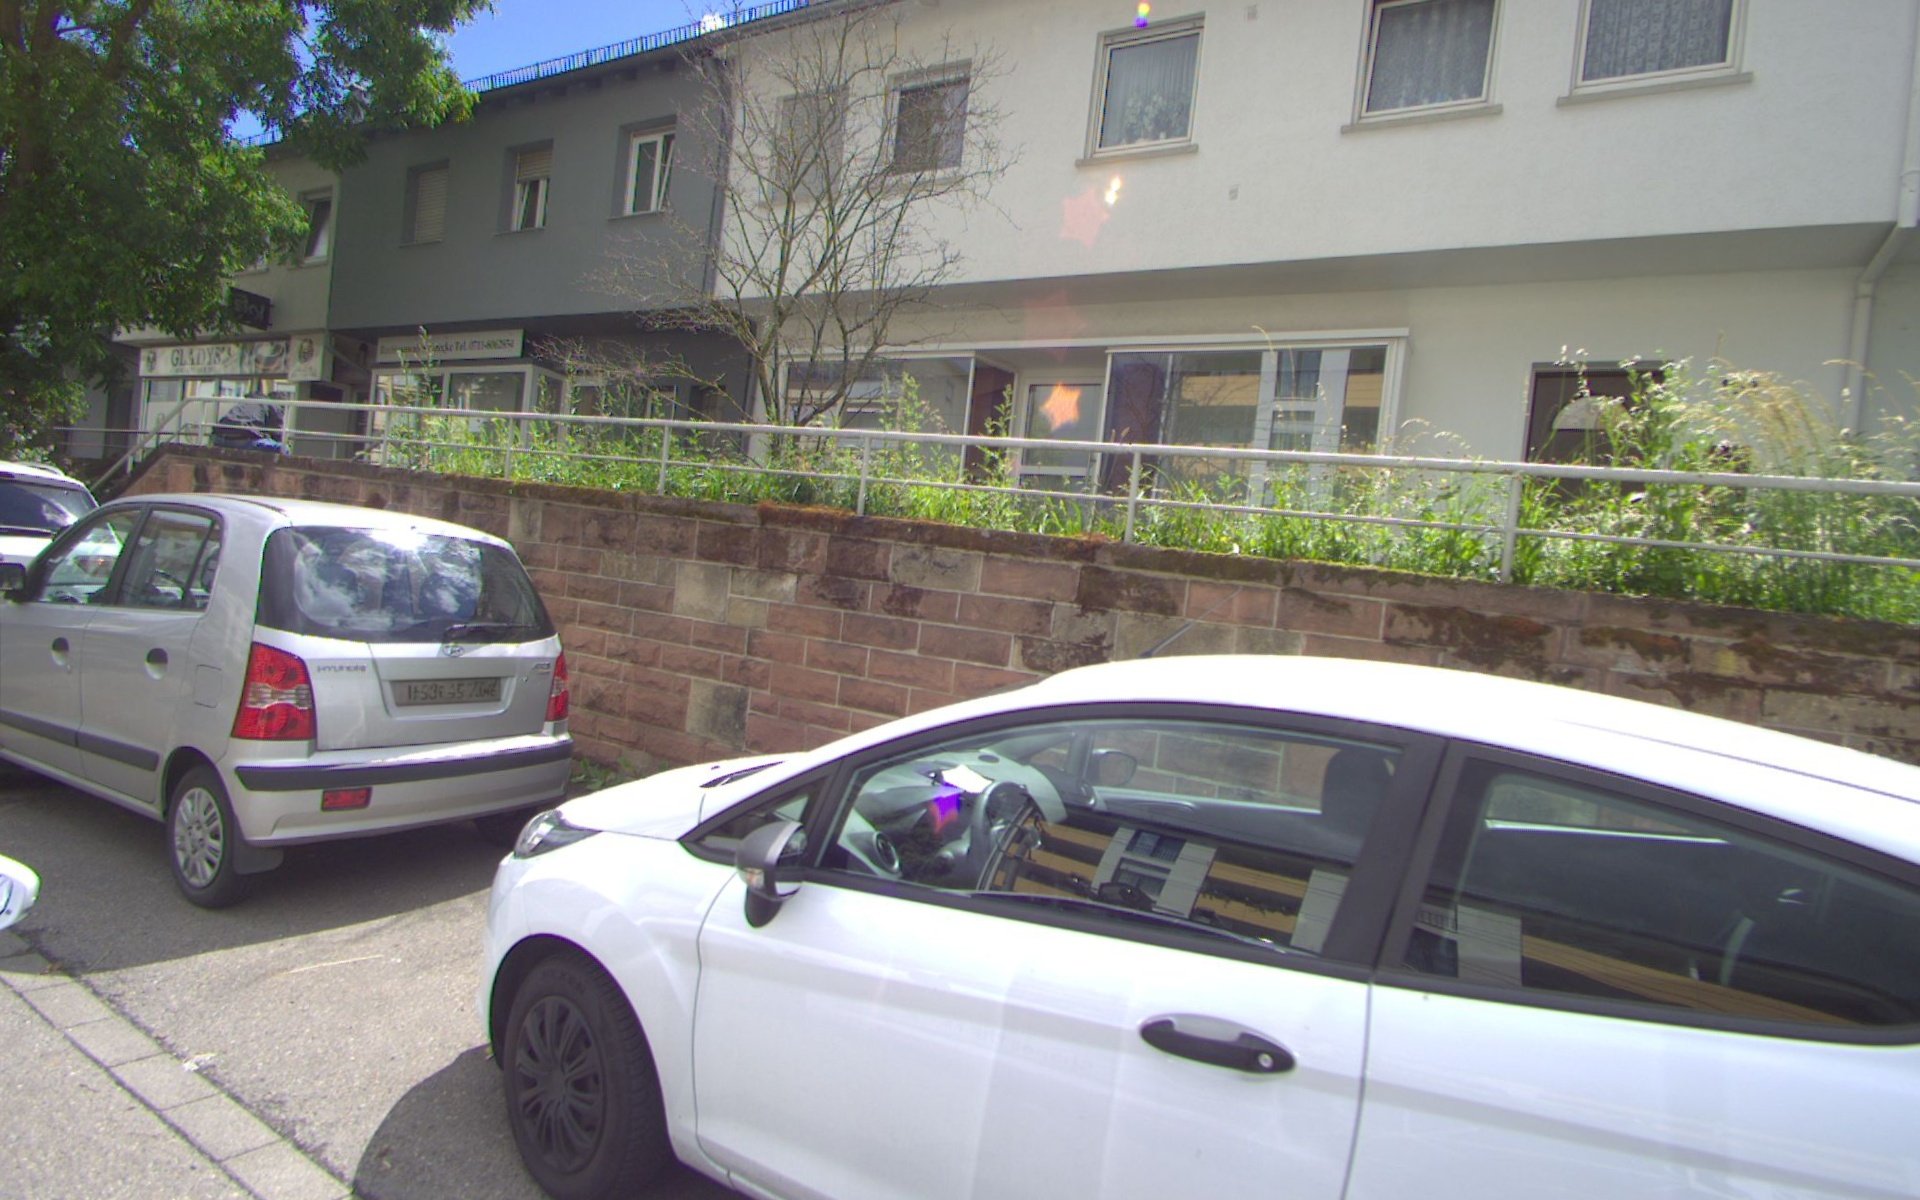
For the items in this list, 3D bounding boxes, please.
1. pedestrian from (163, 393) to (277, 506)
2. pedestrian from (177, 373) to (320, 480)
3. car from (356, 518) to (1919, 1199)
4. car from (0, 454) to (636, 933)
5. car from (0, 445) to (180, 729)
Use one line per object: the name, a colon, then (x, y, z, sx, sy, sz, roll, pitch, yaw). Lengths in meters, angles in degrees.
pedestrian: (-7.084, -1.433, 9.636, 0.605, 0.957, 0.642, 7, 2, 30)
pedestrian: (-6.562, -1.591, 9.295, 0.693, 0.799, 0.796, 7, 0, 30)
car: (0.492, 0.795, 2.416, 3.757, 1.508, 1.647, 7, 0, 31)
car: (-3.508, 0.243, 4.997, 3.415, 1.571, 1.584, 7, 0, 29)
car: (-7.665, -0.306, 7.226, 4.501, 1.703, 1.825, 7, 1, 33)
